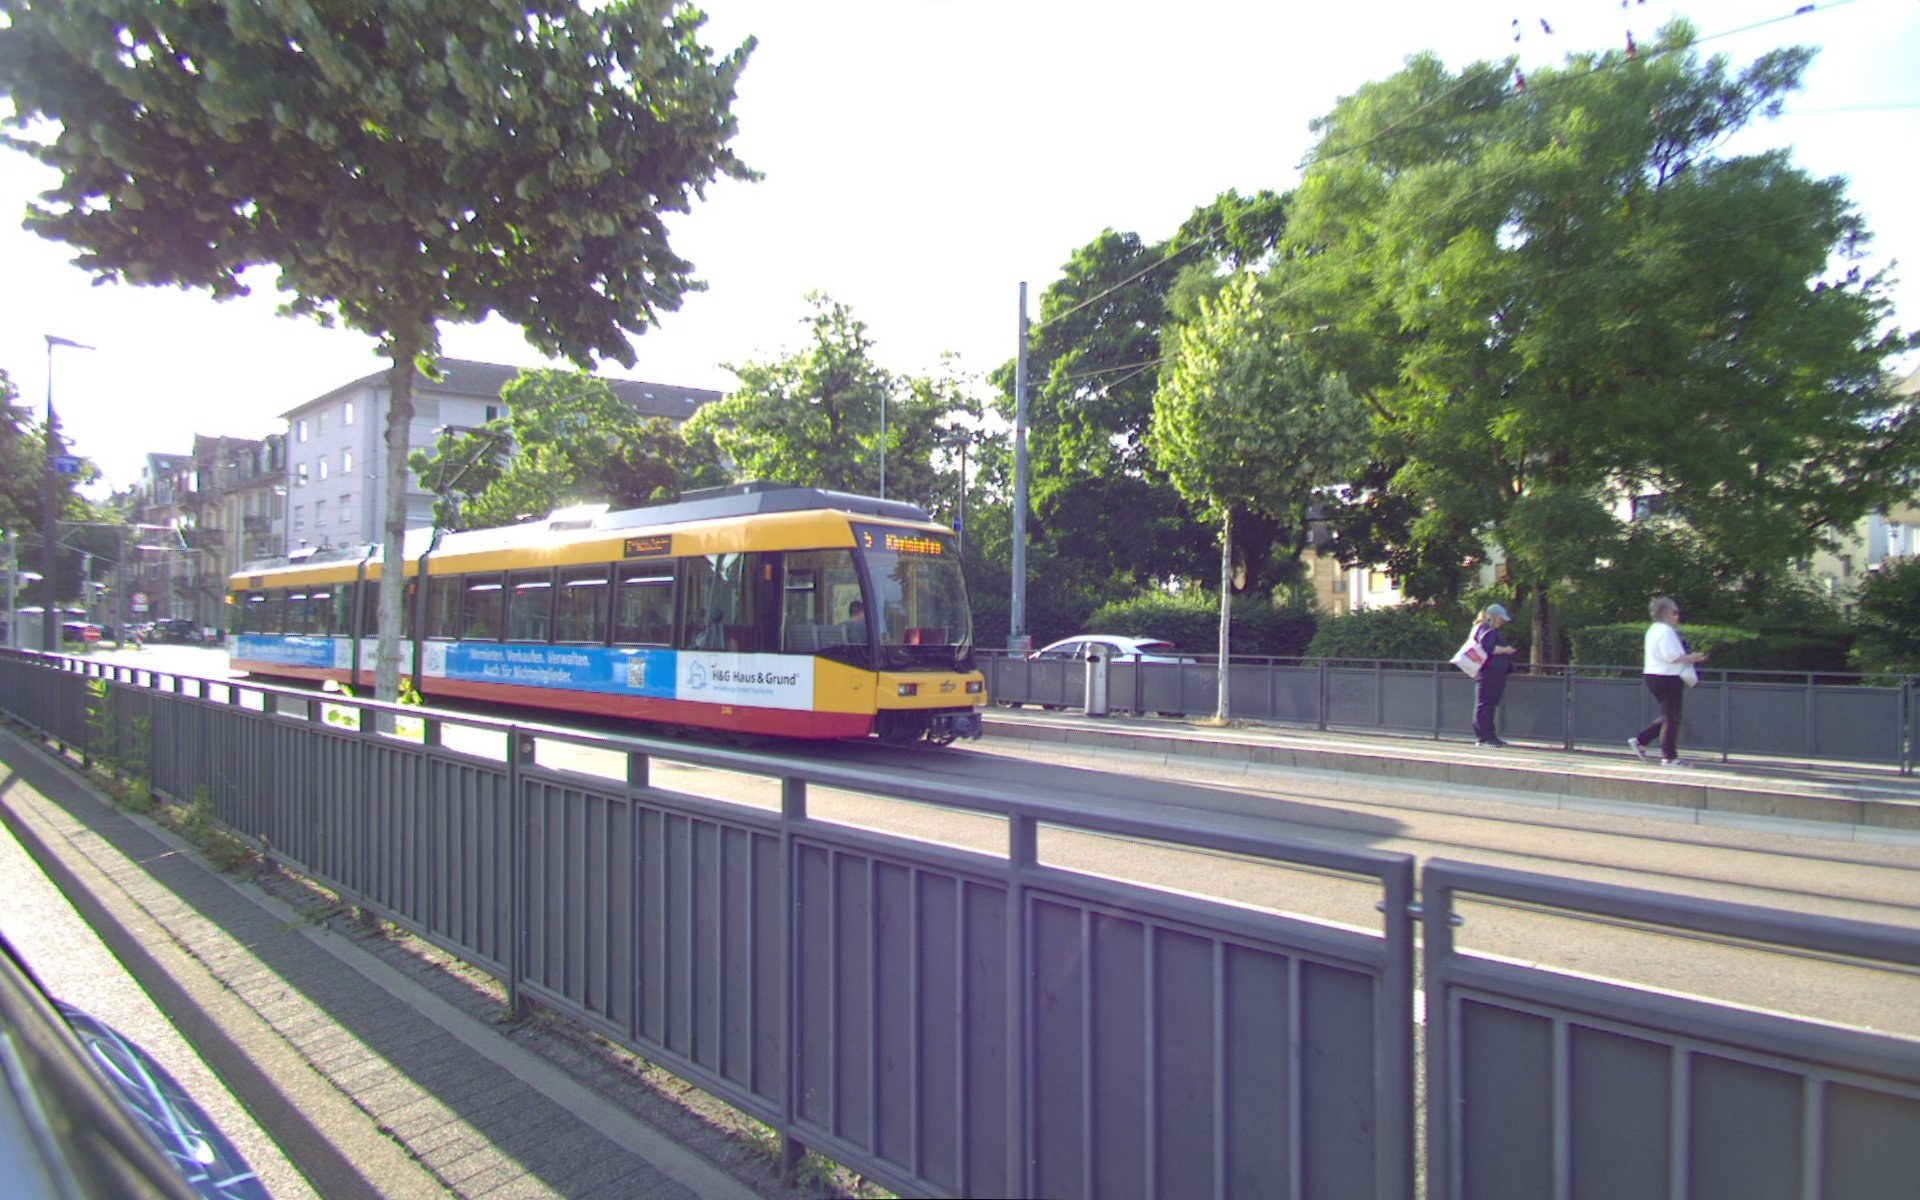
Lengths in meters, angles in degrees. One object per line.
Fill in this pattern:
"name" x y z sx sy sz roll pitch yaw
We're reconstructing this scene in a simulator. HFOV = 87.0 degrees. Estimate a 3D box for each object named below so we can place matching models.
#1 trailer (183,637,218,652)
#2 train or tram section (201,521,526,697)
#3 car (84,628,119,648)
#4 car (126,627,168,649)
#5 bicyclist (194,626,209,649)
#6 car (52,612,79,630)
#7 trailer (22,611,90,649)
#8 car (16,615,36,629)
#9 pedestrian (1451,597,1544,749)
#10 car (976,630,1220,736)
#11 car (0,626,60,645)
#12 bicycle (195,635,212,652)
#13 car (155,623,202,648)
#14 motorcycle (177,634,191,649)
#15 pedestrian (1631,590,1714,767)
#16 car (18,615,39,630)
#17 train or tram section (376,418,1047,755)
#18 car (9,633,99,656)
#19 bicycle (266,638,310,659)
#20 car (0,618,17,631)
"trailer" -53.215 3.107 70.906 2.879 0.903 1.425 -2 3 43
"train or tram section" -16.098 0.355 26.312 14.529 3.506 3.128 -2 -2 42
"car" -82.726 3.640 97.466 4.612 1.915 2.141 -2 -2 44
"car" -66.944 3.122 83.275 4.612 1.763 2.141 -2 -2 44
"bicyclist" -46.739 2.304 62.350 0.717 1.424 0.643 -2 -2 44
"car" -106.839 2.520 120.876 3.999 2.029 1.972 -2 -2 42
"trailer" -58.837 1.962 65.887 2.817 2.410 1.728 0 -2 -17
"car" -137.878 3.263 149.365 1.970 2.029 4.002 1 -2 -45
"pedestrian" 6.081 0.807 11.485 0.860 1.654 0.660 -1 -2 25
"car" 2.462 1.420 18.566 3.997 1.697 1.973 -2 -2 41
"car" -72.266 2.733 77.840 4.239 1.433 1.962 0 -1 -7
"bicycle" -46.468 2.666 62.144 0.535 1.026 2.251 1 -2 -45
"car" -58.122 2.629 75.242 4.719 1.763 2.141 -2 -2 44
"motorcycle" -55.500 2.951 72.364 0.628 1.088 1.735 1 -2 -44
"pedestrian" 6.935 0.750 9.856 0.606 1.654 0.576 -2 -4 37
"car" -130.075 3.098 141.305 1.970 2.029 4.002 1 -2 -45
"train or tram section" -5.298 0.033 16.566 14.468 3.506 3.128 -2 -2 42
"car" -56.857 2.777 63.566 3.888 1.370 1.677 1 -2 -11
"bicycle" -36.811 2.649 55.464 1.883 1.119 0.737 1 -2 -27
"car" -147.933 3.777 157.043 3.998 2.029 1.973 -2 -2 41
